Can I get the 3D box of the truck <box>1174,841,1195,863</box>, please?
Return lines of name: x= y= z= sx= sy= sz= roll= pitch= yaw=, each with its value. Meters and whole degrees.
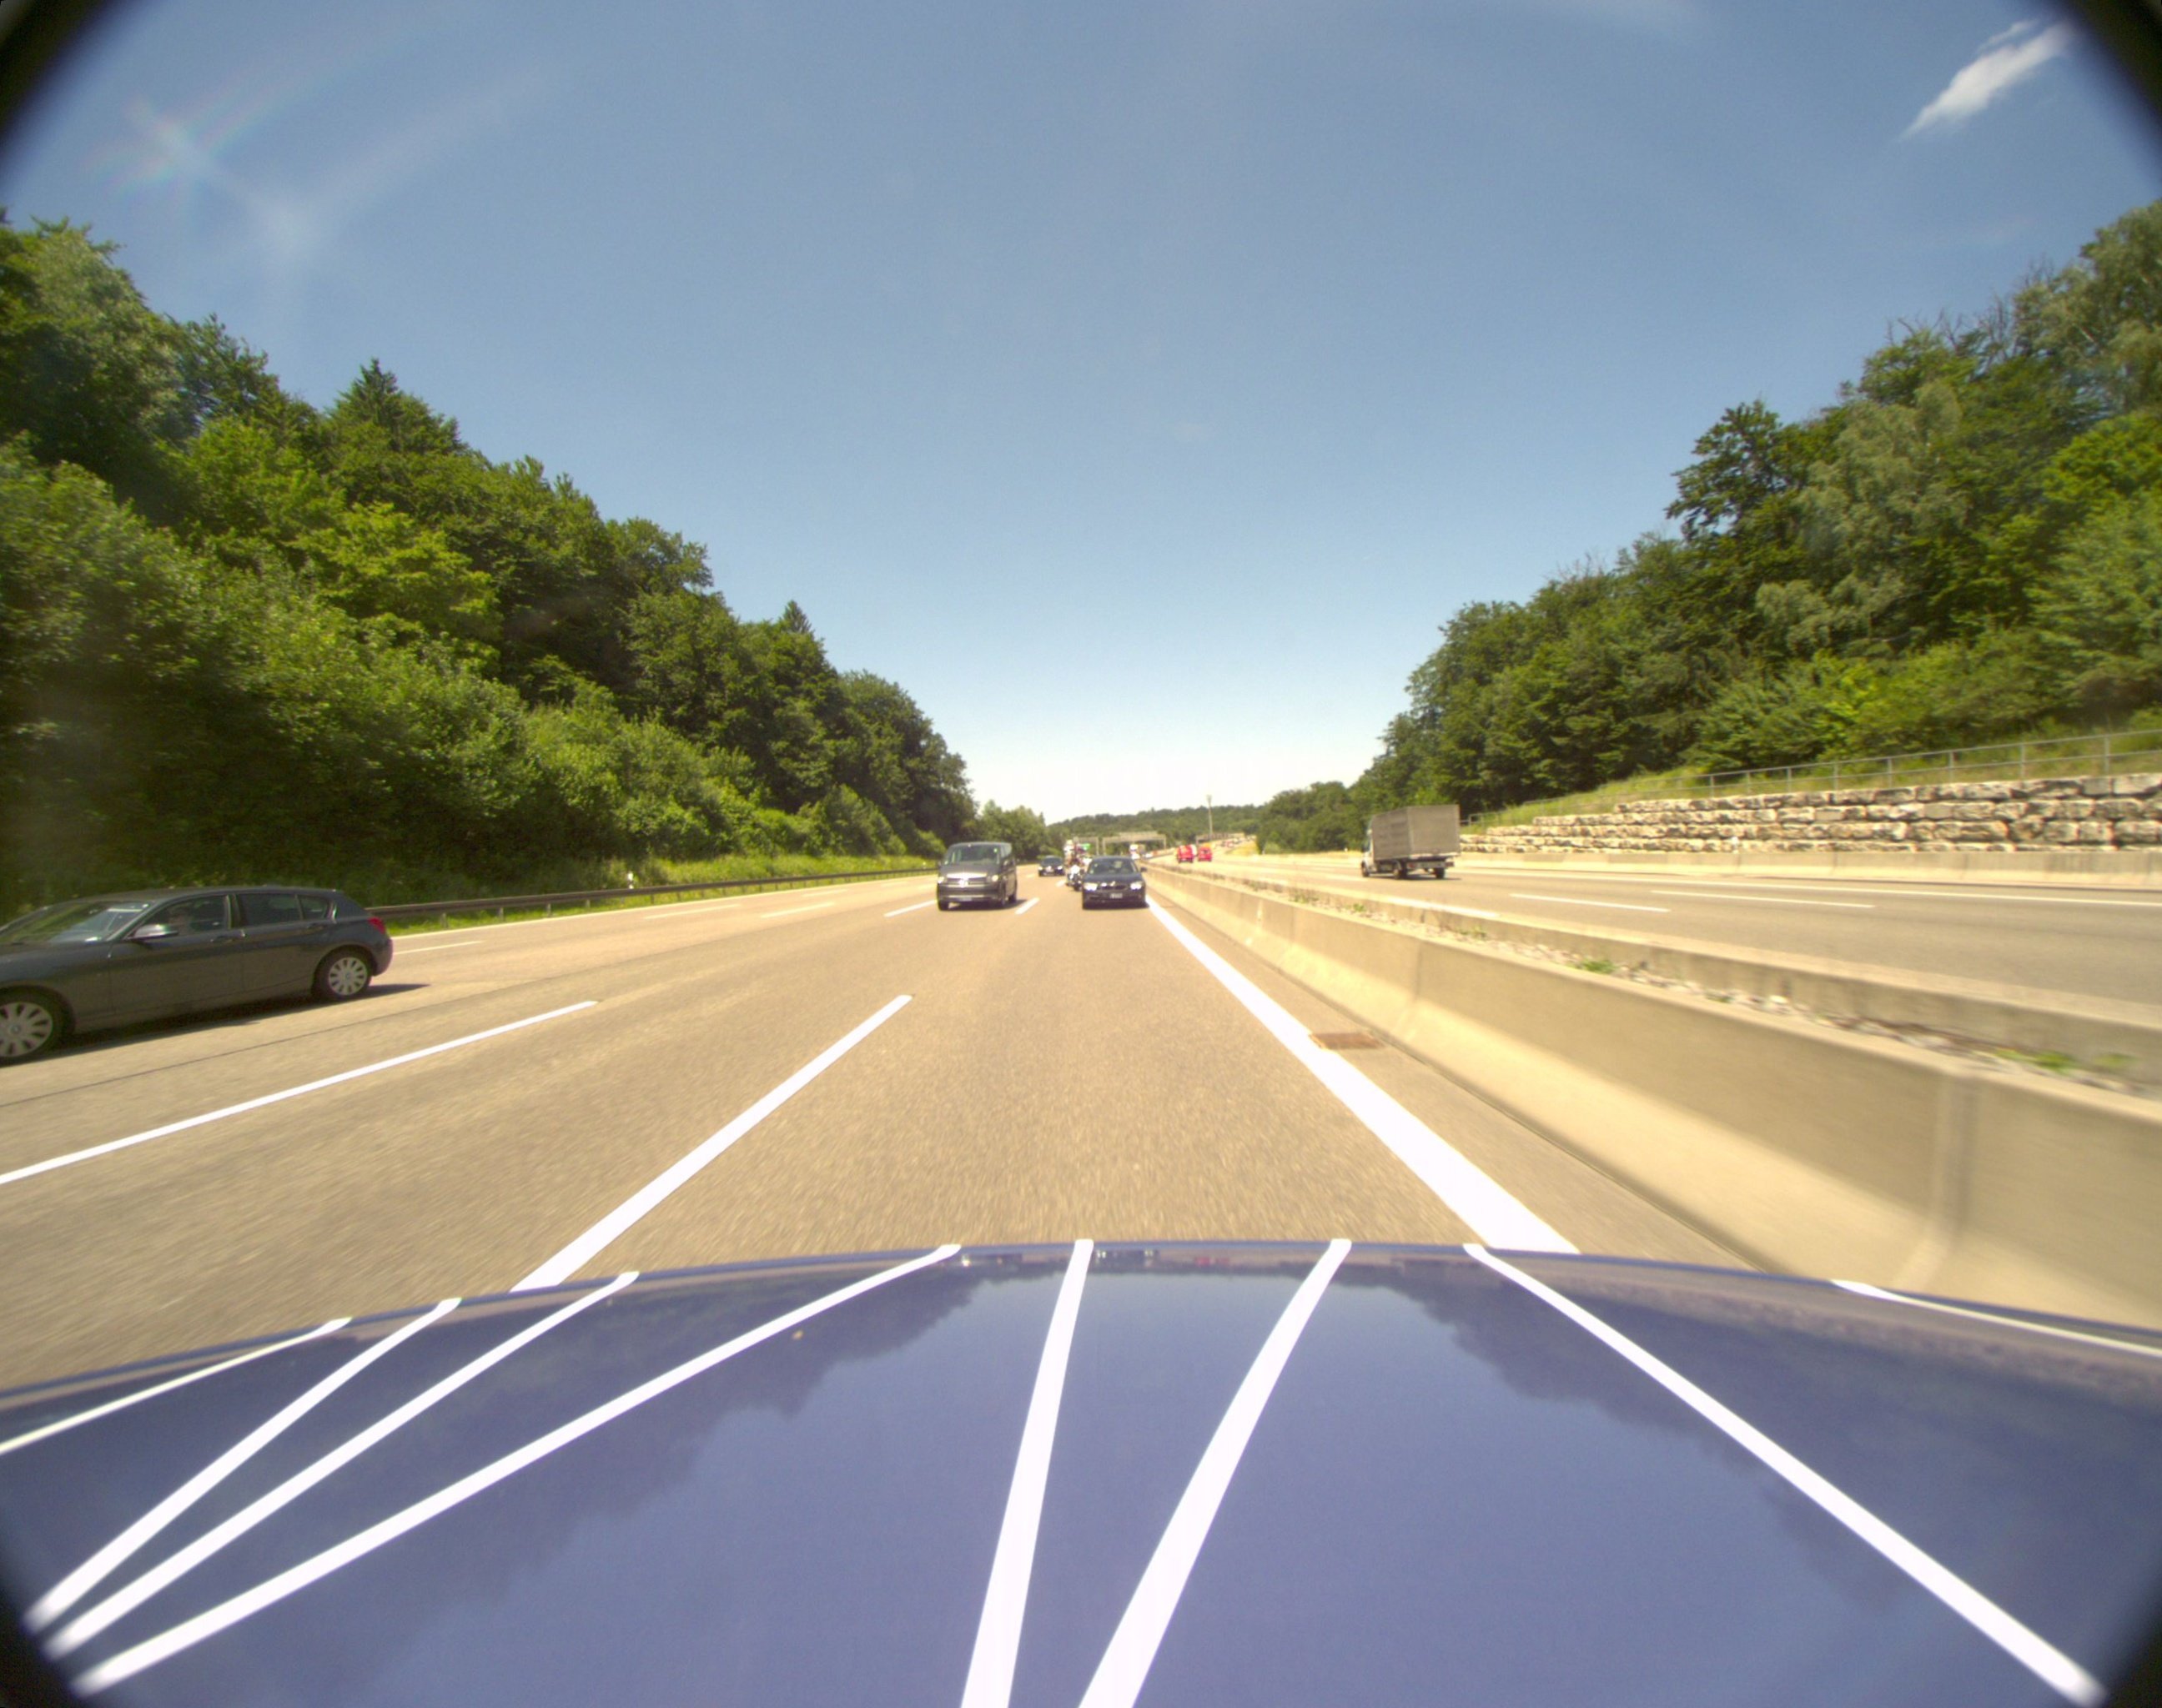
truck: x=14.886 y=-0.256 z=109.895 sx=2.115 sy=2.959 sz=7.015 roll=-2 pitch=-1 yaw=1

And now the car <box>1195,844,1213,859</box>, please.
car: x=19.732 y=-0.437 z=121.947 sx=1.998 sy=2.273 sz=5.804 roll=-3 pitch=0 yaw=3

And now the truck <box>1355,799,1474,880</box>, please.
truck: x=14.583 y=-0.610 z=33.849 sx=2.281 sy=3.125 sz=6.919 roll=-3 pitch=0 yaw=2

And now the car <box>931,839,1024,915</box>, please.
car: x=-3.042 y=0.620 z=23.443 sx=1.967 sy=2.022 sz=5.083 roll=-2 pitch=0 yaw=2

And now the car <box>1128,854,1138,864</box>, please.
car: x=11.568 y=1.110 z=168.526 sx=1.998 sy=2.002 sz=4.001 roll=-3 pitch=0 yaw=4

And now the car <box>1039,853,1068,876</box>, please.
car: x=-2.012 y=0.763 z=56.224 sx=1.760 sy=1.431 sz=3.999 roll=-2 pitch=2 yaw=2

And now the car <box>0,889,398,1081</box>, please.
car: x=-9.637 y=1.176 z=7.568 sx=1.706 sy=1.388 sz=4.154 roll=-2 pitch=0 yaw=4

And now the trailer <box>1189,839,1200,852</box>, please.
trailer: x=35.362 y=-2.722 z=237.219 sx=2.543 sy=3.858 sz=11.698 roll=-2 pitch=0 yaw=5

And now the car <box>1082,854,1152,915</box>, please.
car: x=1.076 y=0.809 z=21.813 sx=1.769 sy=1.496 sz=4.001 roll=-3 pitch=0 yaw=4

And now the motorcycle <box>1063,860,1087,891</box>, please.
motorcycle: x=-0.214 y=0.883 z=31.513 sx=0.536 sy=1.129 sz=2.438 roll=-4 pitch=1 yaw=9

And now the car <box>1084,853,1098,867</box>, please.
car: x=1.578 y=0.884 z=116.107 sx=1.729 sy=1.522 sz=3.739 roll=13 pitch=5 yaw=2

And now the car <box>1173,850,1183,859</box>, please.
car: x=22.821 y=0.203 z=178.430 sx=1.998 sy=1.861 sz=5.252 roll=-3 pitch=1 yaw=5

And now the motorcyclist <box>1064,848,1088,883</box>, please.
motorcyclist: x=-0.198 y=0.478 z=31.621 sx=0.854 sy=1.419 sz=1.023 roll=-1 pitch=2 yaw=7

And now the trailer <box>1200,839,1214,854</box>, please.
trailer: x=34.554 y=-2.015 z=208.284 sx=2.728 sy=3.981 sz=13.729 roll=-2 pitch=0 yaw=5

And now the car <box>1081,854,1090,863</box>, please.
car: x=1.072 y=1.139 z=182.553 sx=1.998 sy=2.001 sz=4.002 roll=-2 pitch=-3 yaw=1

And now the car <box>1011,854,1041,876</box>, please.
car: x=-4.081 y=0.813 z=56.780 sx=1.754 sy=1.510 sz=4.484 roll=-2 pitch=0 yaw=1
